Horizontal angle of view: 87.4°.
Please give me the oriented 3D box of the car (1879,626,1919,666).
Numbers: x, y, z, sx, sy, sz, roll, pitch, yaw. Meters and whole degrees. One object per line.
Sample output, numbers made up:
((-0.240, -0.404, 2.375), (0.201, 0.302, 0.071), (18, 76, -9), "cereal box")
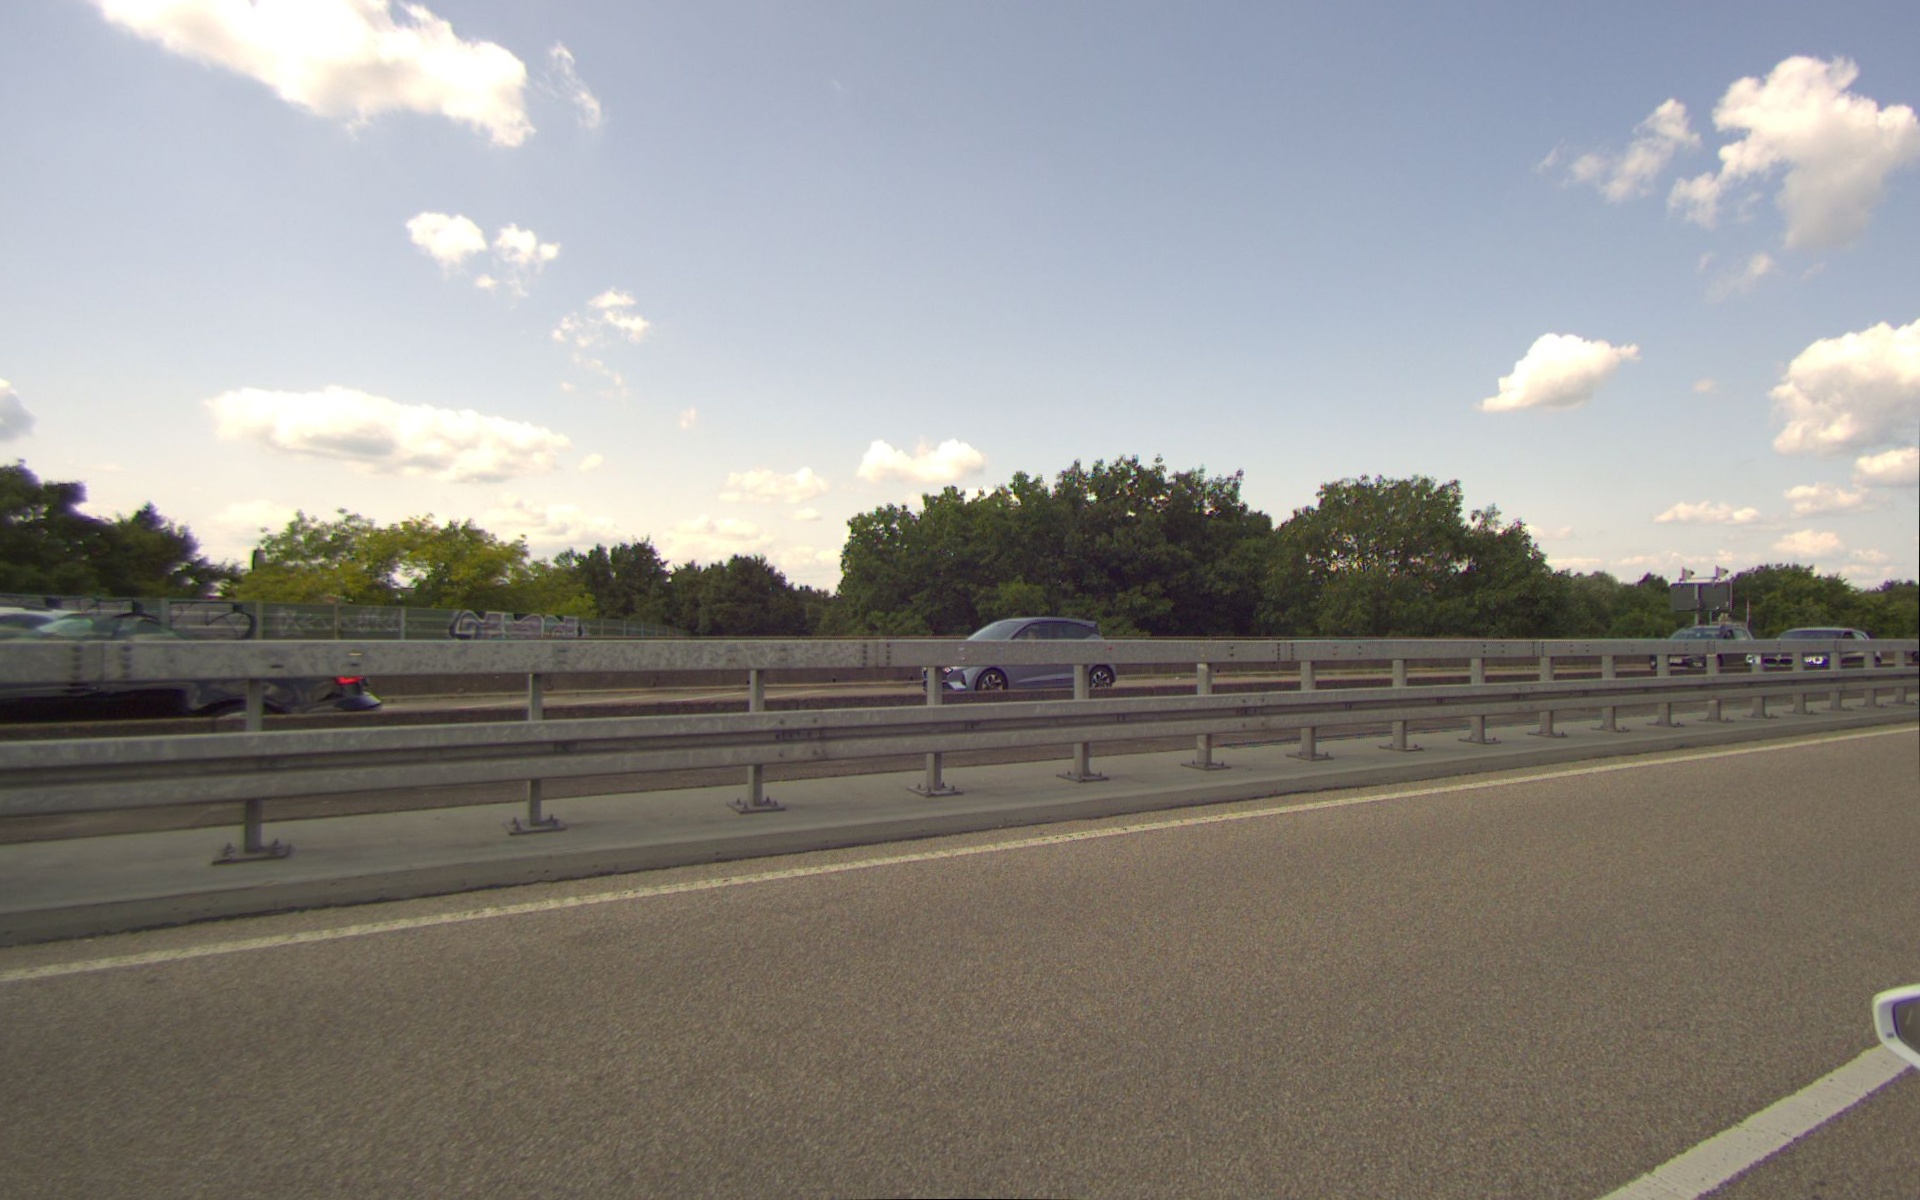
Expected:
((43.291, 2.051, 45.108), (4.464, 1.662, 1.879), (1, 1, -33), "car")

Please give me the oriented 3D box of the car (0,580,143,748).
((-11.404, 0.647, 10.421), (4.363, 1.734, 1.572), (0, 1, -33), "car")

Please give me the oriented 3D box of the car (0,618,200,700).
((-17.360, 1.085, 19.407), (1.622, 1.405, 3.985), (2, 1, 37), "car")

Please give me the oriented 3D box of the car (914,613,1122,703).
((1.093, 1.040, 18.364), (3.592, 1.494, 1.589), (1, -3, -33), "car")

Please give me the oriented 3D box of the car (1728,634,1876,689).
((21.262, 1.520, 25.339), (3.955, 1.201, 1.672), (2, 1, -31), "car")

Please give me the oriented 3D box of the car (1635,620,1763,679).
((23.016, 1.523, 31.256), (3.955, 1.661, 1.812), (1, 1, -31), "car")

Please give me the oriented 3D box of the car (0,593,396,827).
((-6.794, 0.776, 7.895), (4.017, 1.593, 1.665), (1, 1, -33), "car")
